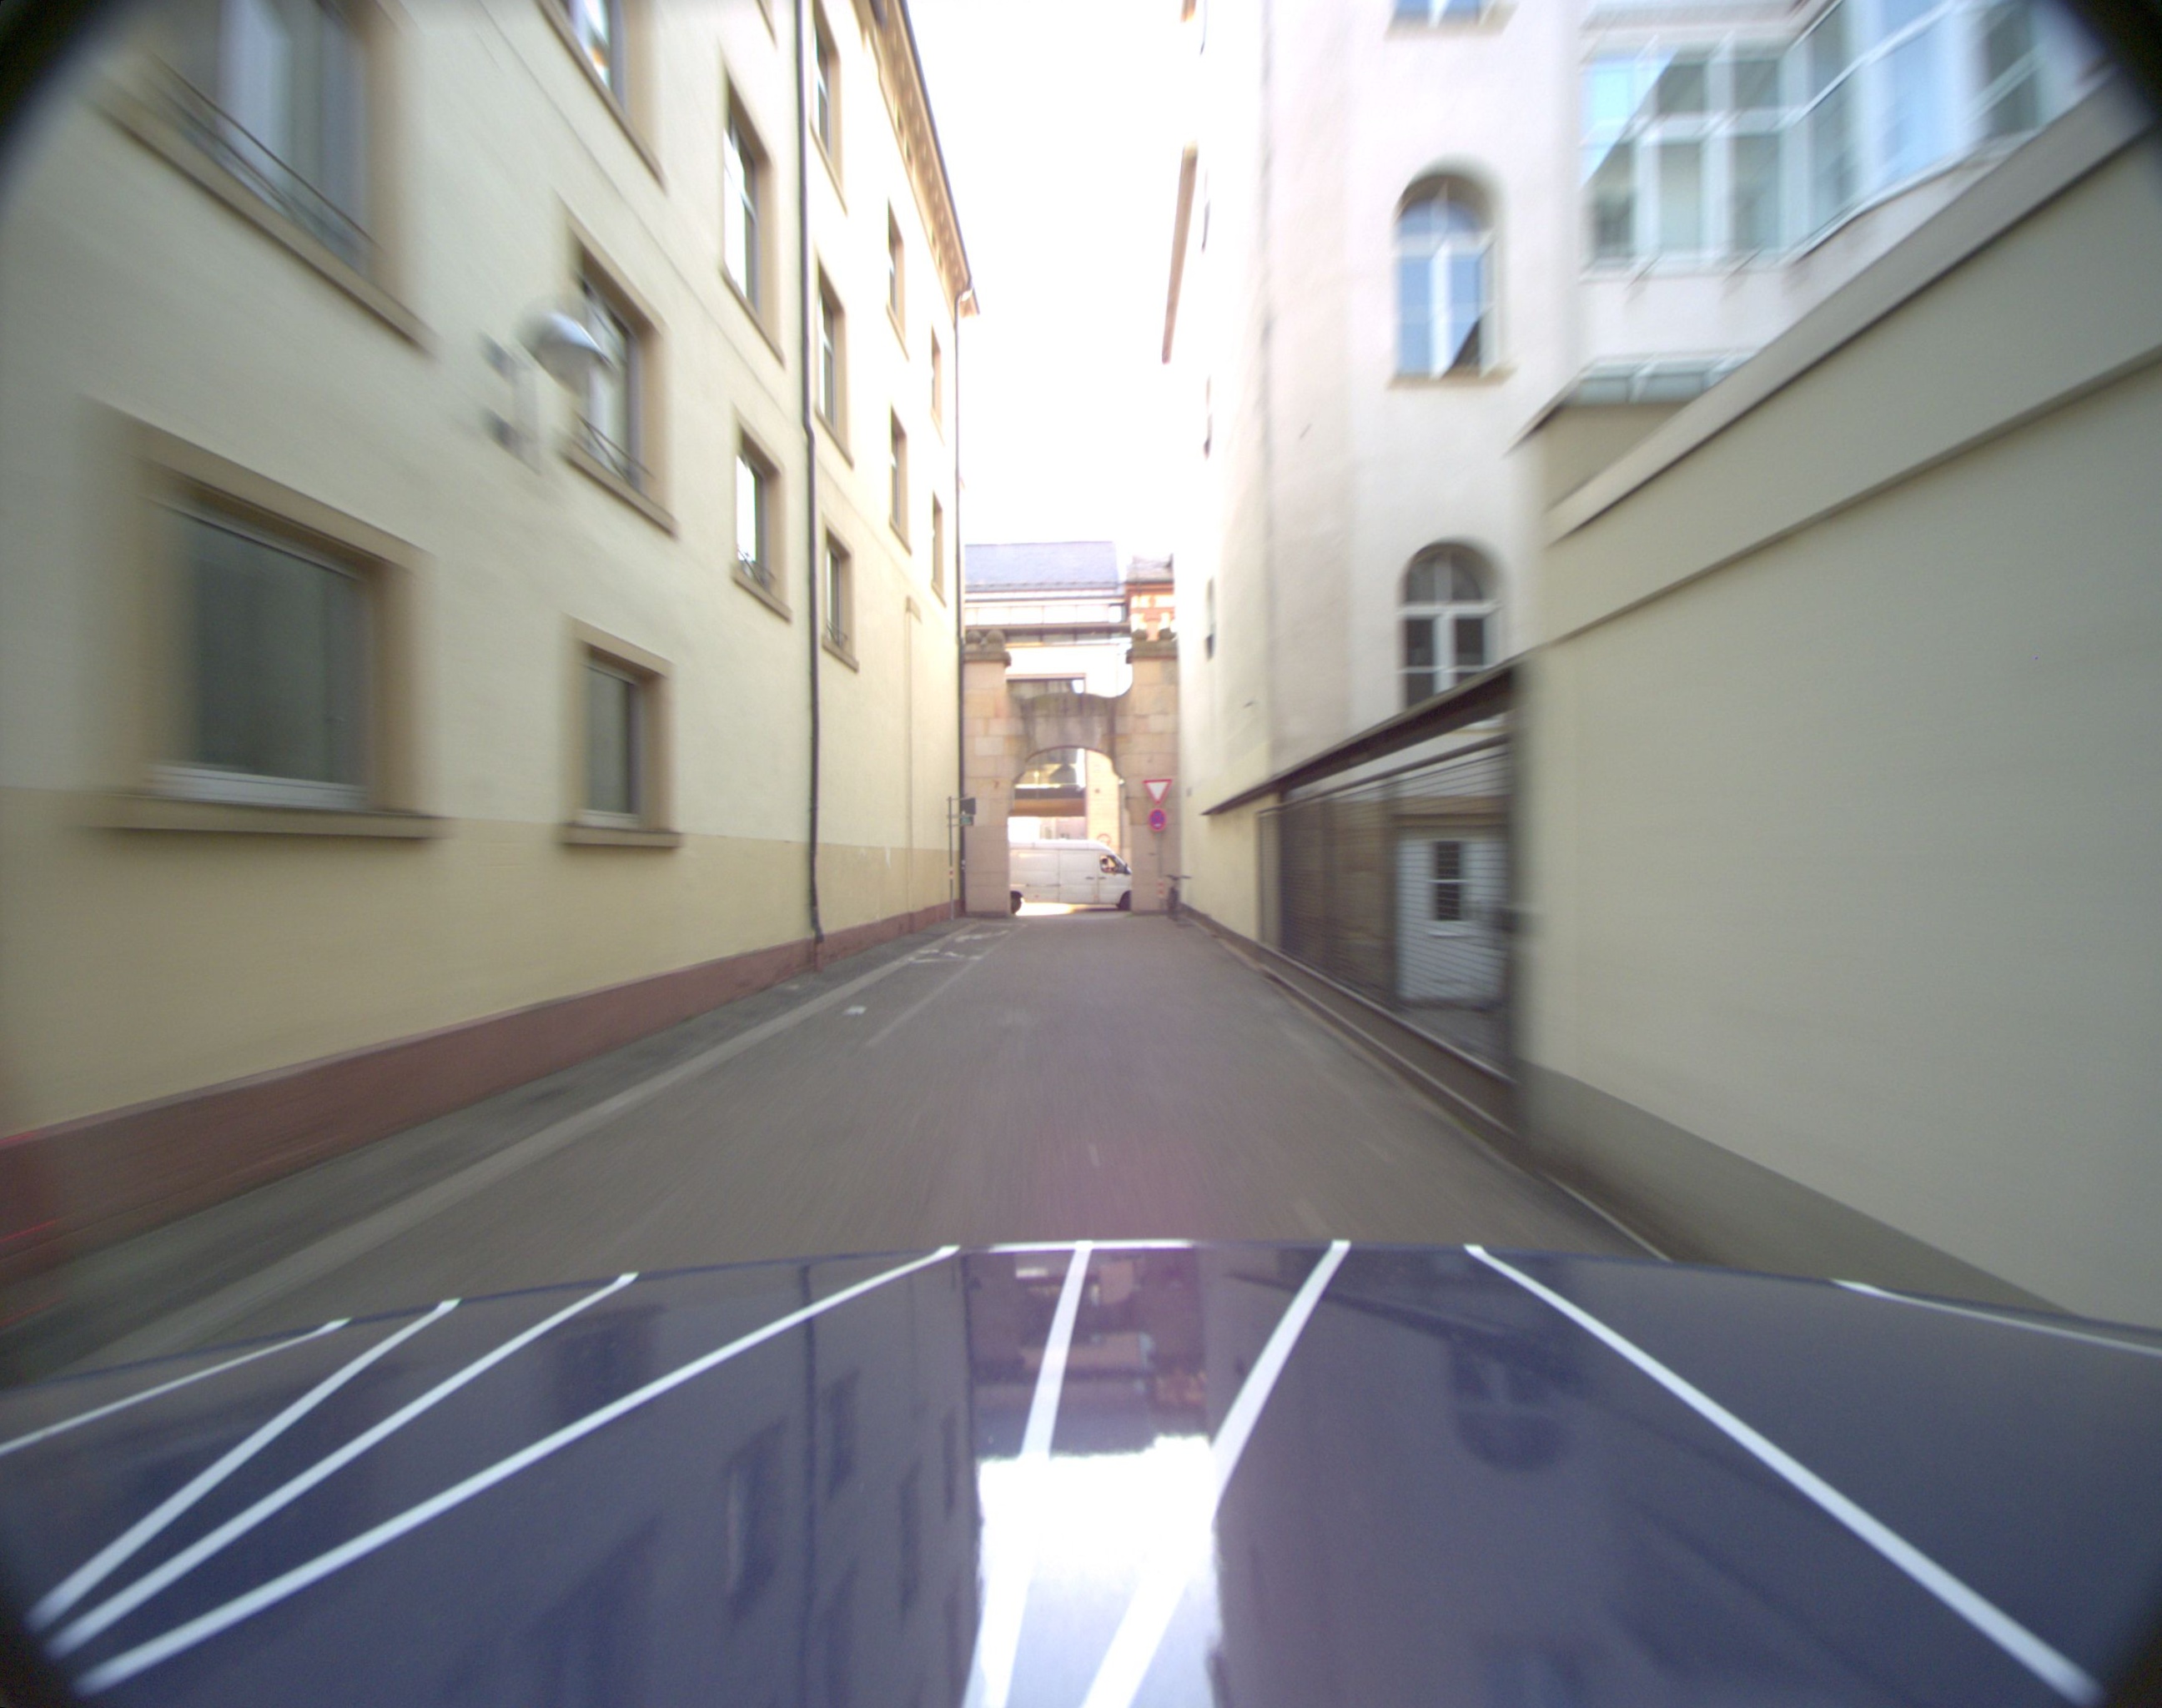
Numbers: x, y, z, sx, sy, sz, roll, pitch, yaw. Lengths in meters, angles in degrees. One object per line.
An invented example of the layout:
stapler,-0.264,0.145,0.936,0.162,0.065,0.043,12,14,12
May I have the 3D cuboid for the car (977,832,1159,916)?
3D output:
car,-0.507,0.669,26.668,6.041,2.519,2.275,-3,0,-6
